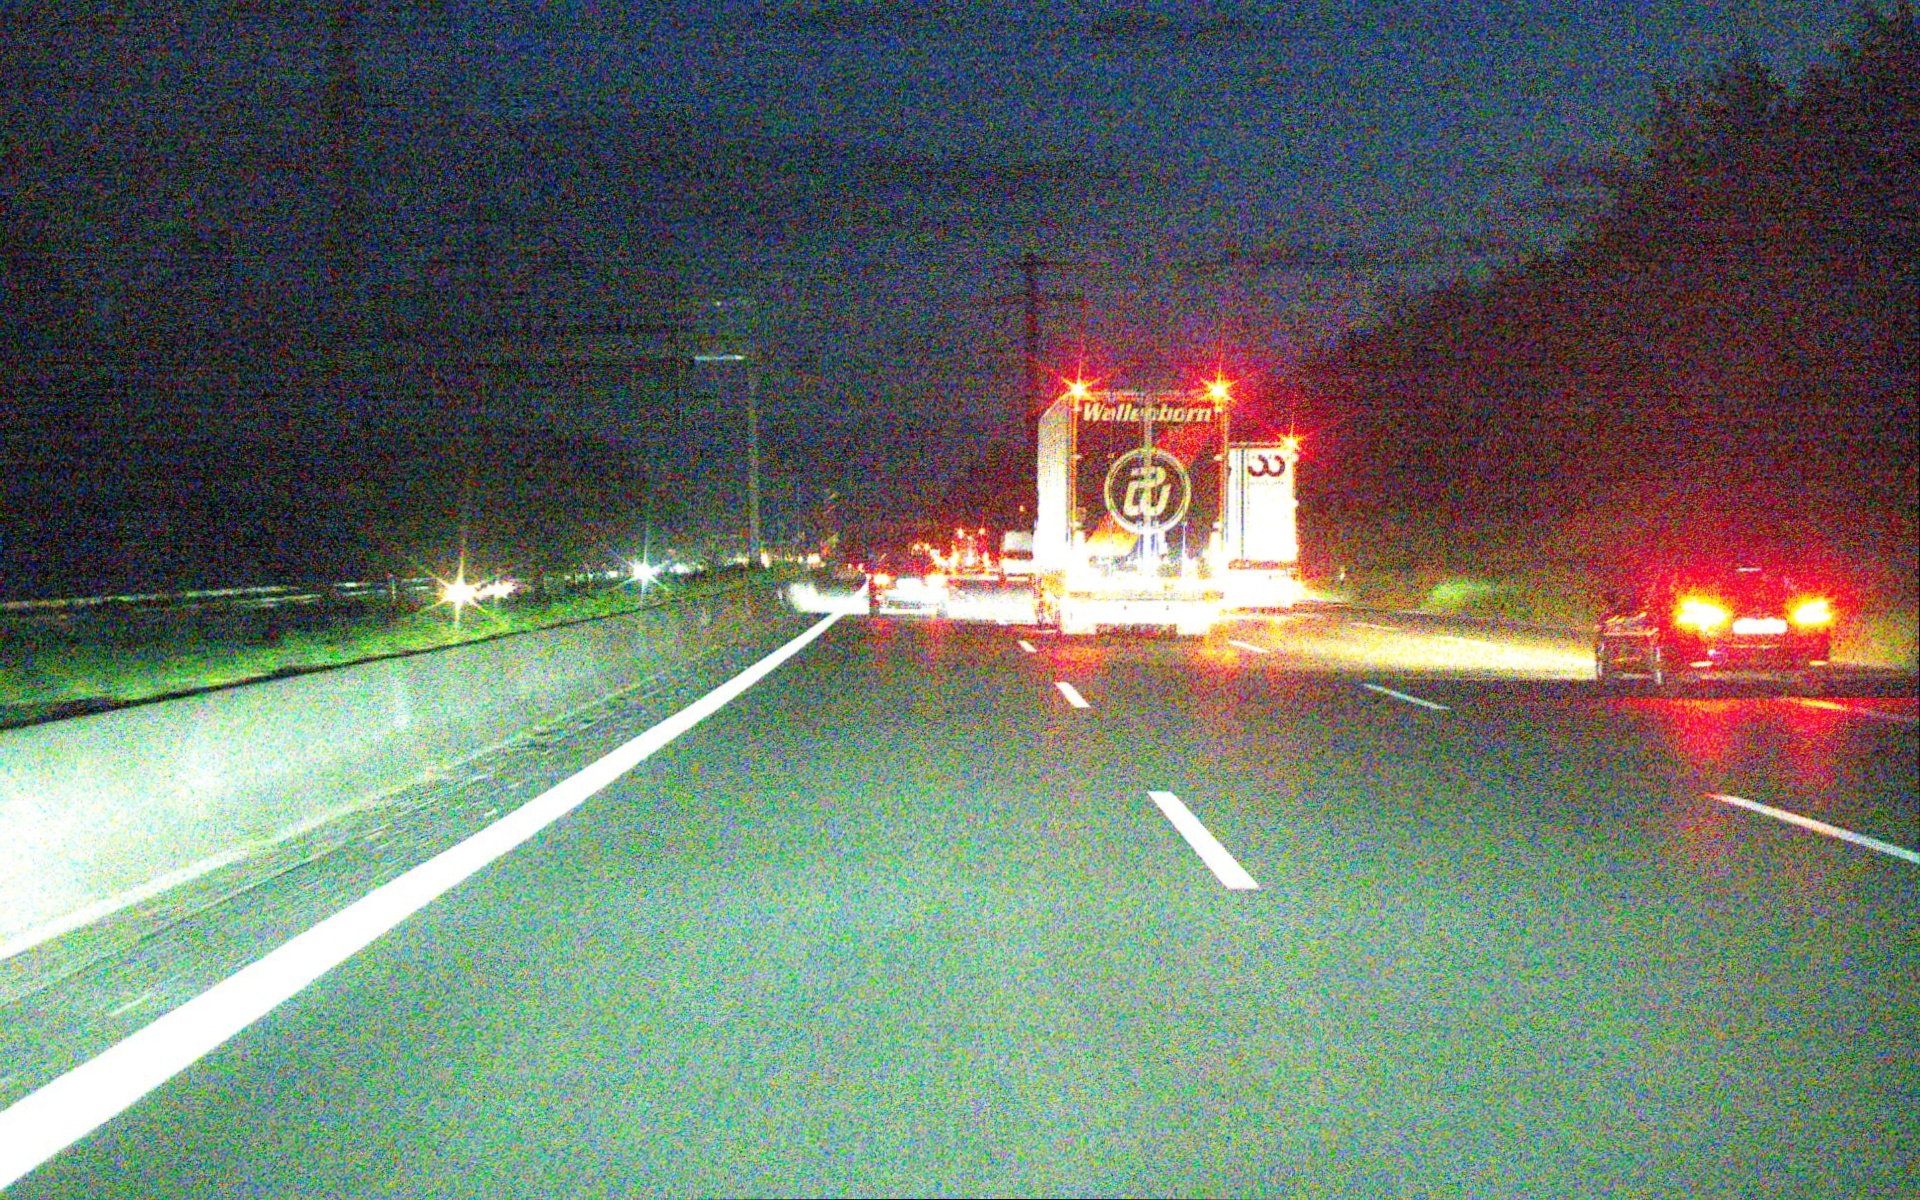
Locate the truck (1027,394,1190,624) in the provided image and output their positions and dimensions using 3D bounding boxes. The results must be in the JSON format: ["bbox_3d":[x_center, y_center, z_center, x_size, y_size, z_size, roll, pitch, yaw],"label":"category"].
[{"bbox_3d":[2.788,-1.712,66.452,2.661,4.192,6.723,1,1,-1],"label":"truck"}]

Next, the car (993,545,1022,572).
[{"bbox_3d":[2.461,-2.166,178.170,1.346,1.382,3.502,1,1,-2],"label":"car"}]

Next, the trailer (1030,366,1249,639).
[{"bbox_3d":[2.906,-1.603,59.833,2.742,4.192,13.511,1,1,-1],"label":"trailer"}]

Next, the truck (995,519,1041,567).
[{"bbox_3d":[3.373,-3.331,202.394,2.076,2.682,7.309,0,-1,-4],"label":"truck"}]

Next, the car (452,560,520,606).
[{"bbox_3d":[-16.839,-0.612,122.312,1.821,1.461,4.560,-4,1,-2],"label":"car"}]

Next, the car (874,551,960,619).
[{"bbox_3d":[-0.995,-0.359,77.636,1.821,1.461,4.248,1,1,-2],"label":"car"}]

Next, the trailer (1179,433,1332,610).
[{"bbox_3d":[7.105,-1.875,84.012,2.591,4.058,10.009,1,1,-1],"label":"trailer"}]

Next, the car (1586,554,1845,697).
[{"bbox_3d":[8.181,0.233,37.586,1.821,1.461,4.248,1,1,-1],"label":"car"}]
